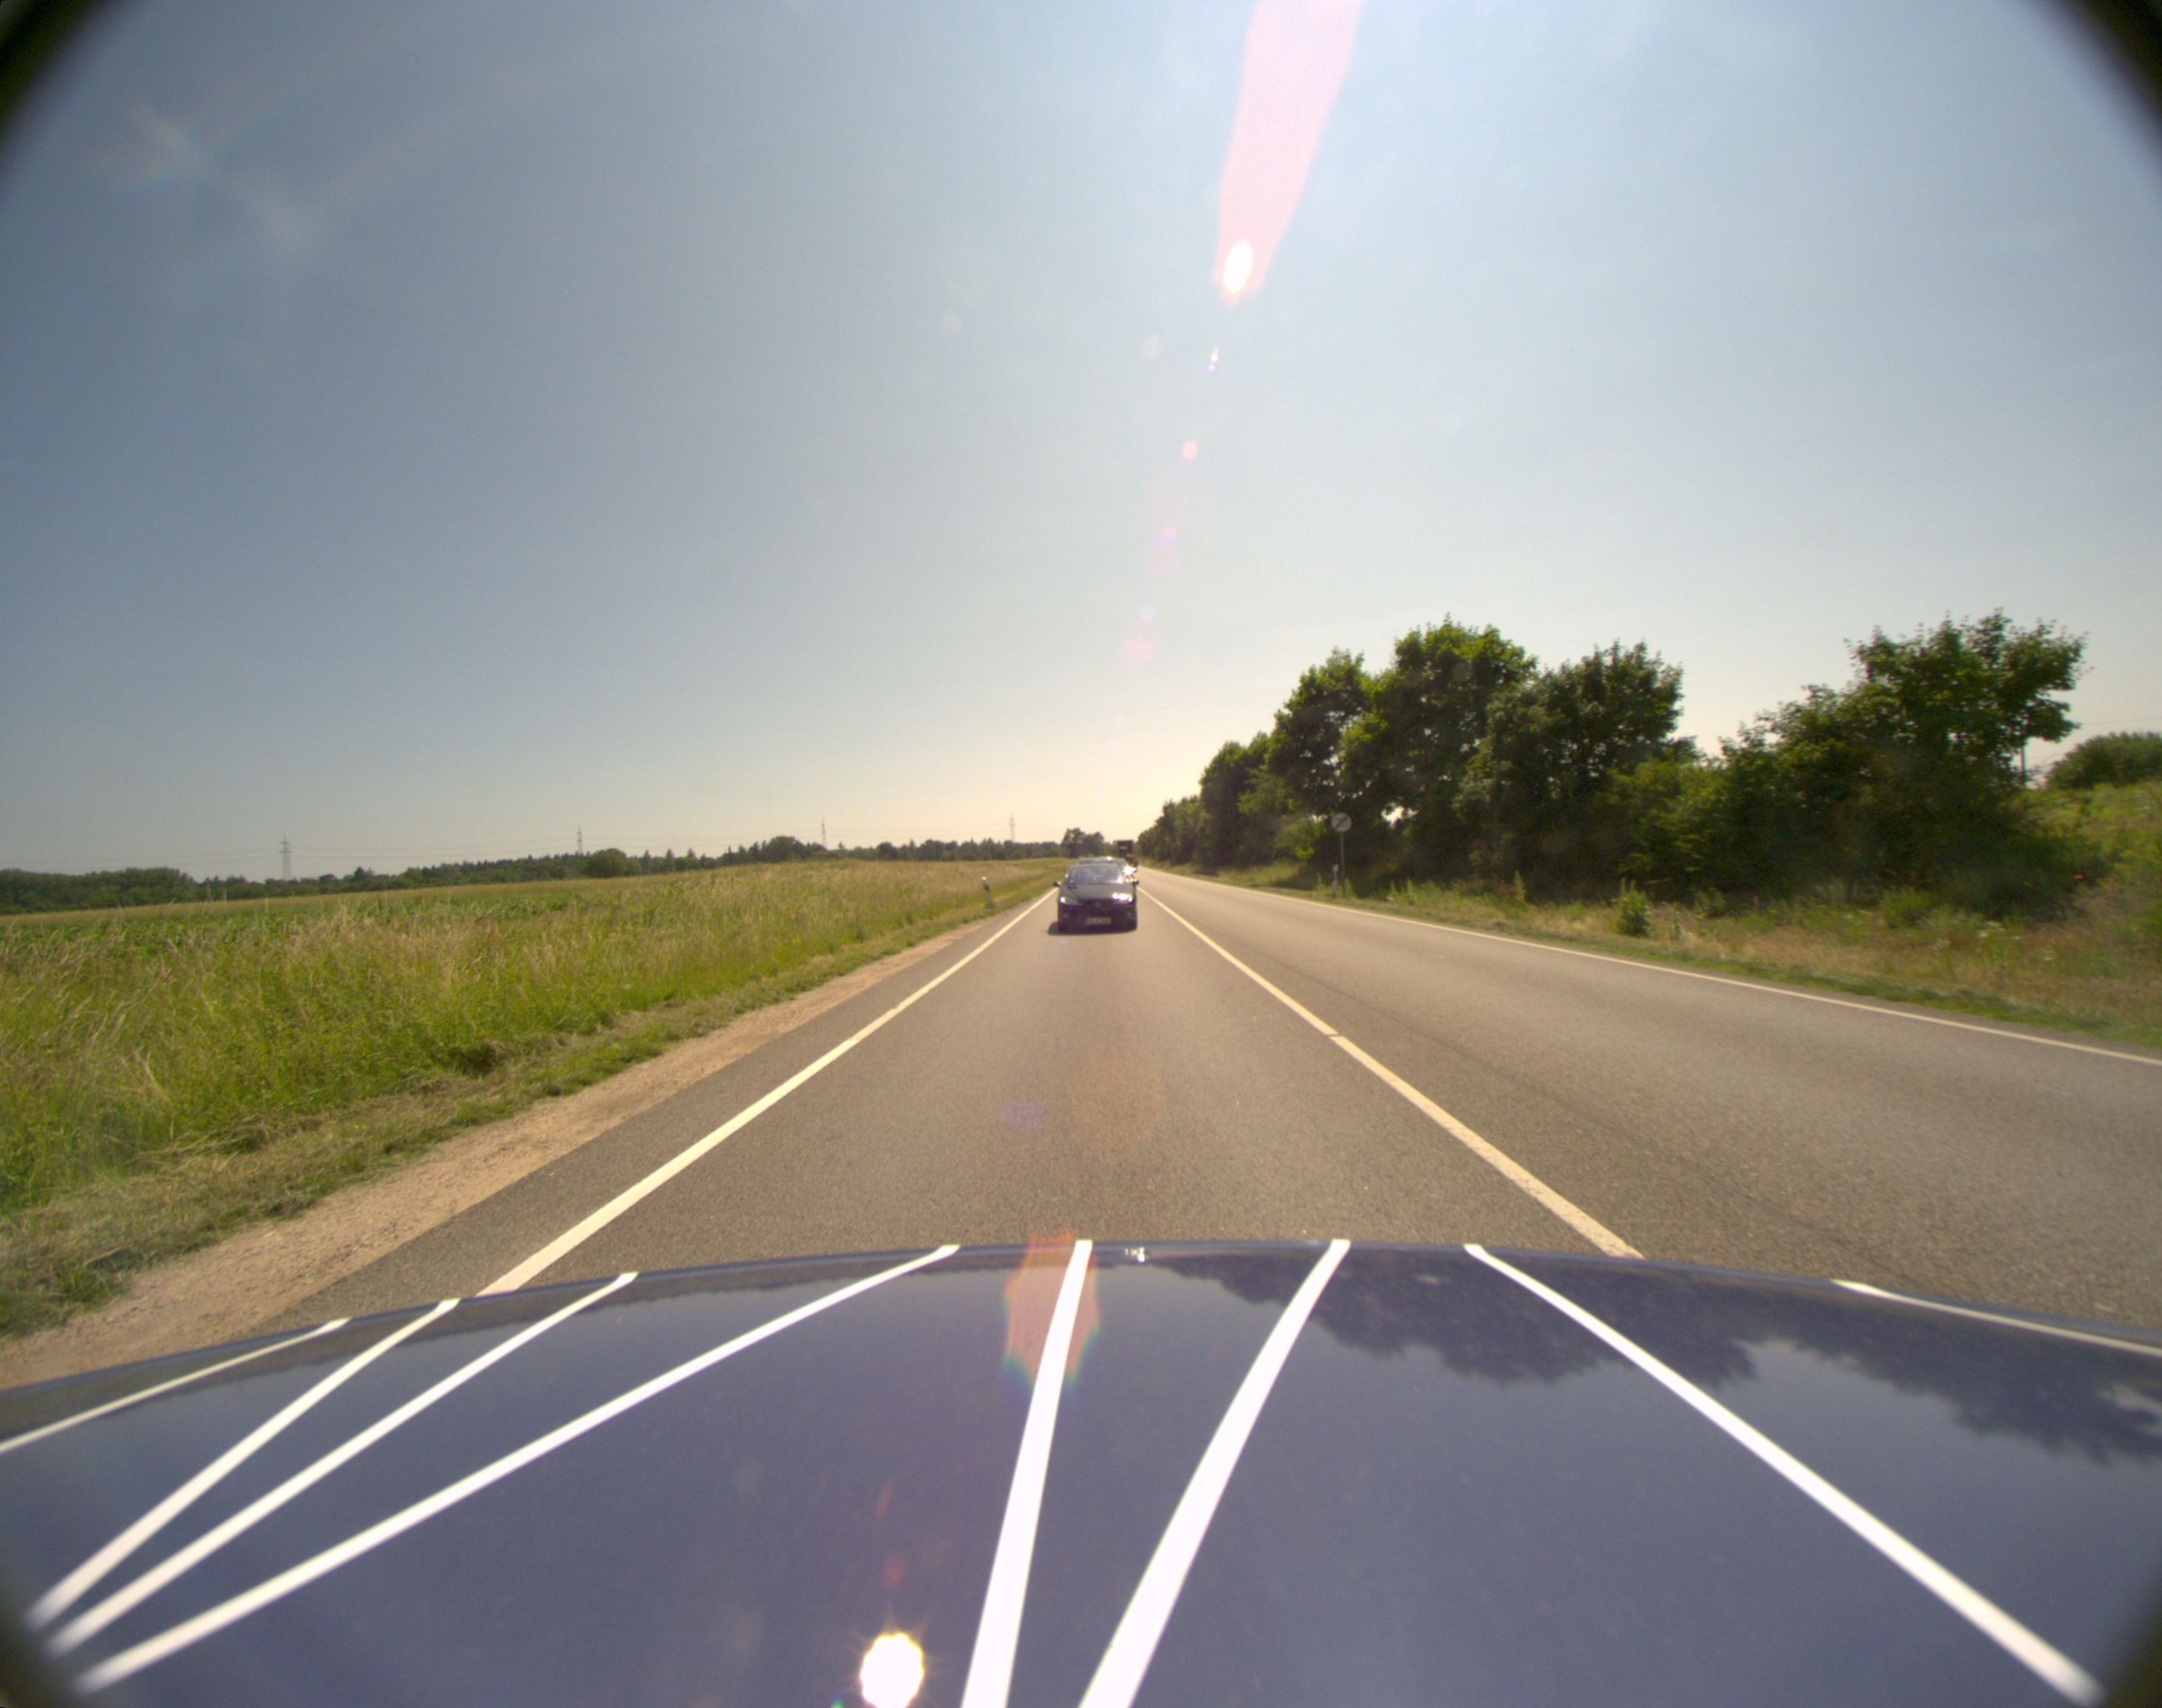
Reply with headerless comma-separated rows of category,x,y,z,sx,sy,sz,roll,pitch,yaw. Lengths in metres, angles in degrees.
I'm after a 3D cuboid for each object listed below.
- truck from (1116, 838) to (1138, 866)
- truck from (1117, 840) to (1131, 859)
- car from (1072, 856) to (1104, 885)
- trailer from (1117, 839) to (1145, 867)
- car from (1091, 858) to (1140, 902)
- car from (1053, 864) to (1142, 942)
truck,6.703,-0.309,110.680,2.709,3.908,5.952,-2,0,0
truck,9.238,-0.956,162.806,2.769,3.711,10.549,-2,0,3
car,0.378,0.903,43.316,1.665,1.449,4.173,-2,0,0
trailer,6.687,-0.072,103.264,2.669,3.440,14.949,-2,0,0
car,1.272,0.928,28.654,1.665,1.477,3.731,-2,0,1
car,0.369,0.969,16.550,1.665,1.389,3.732,-2,0,2
